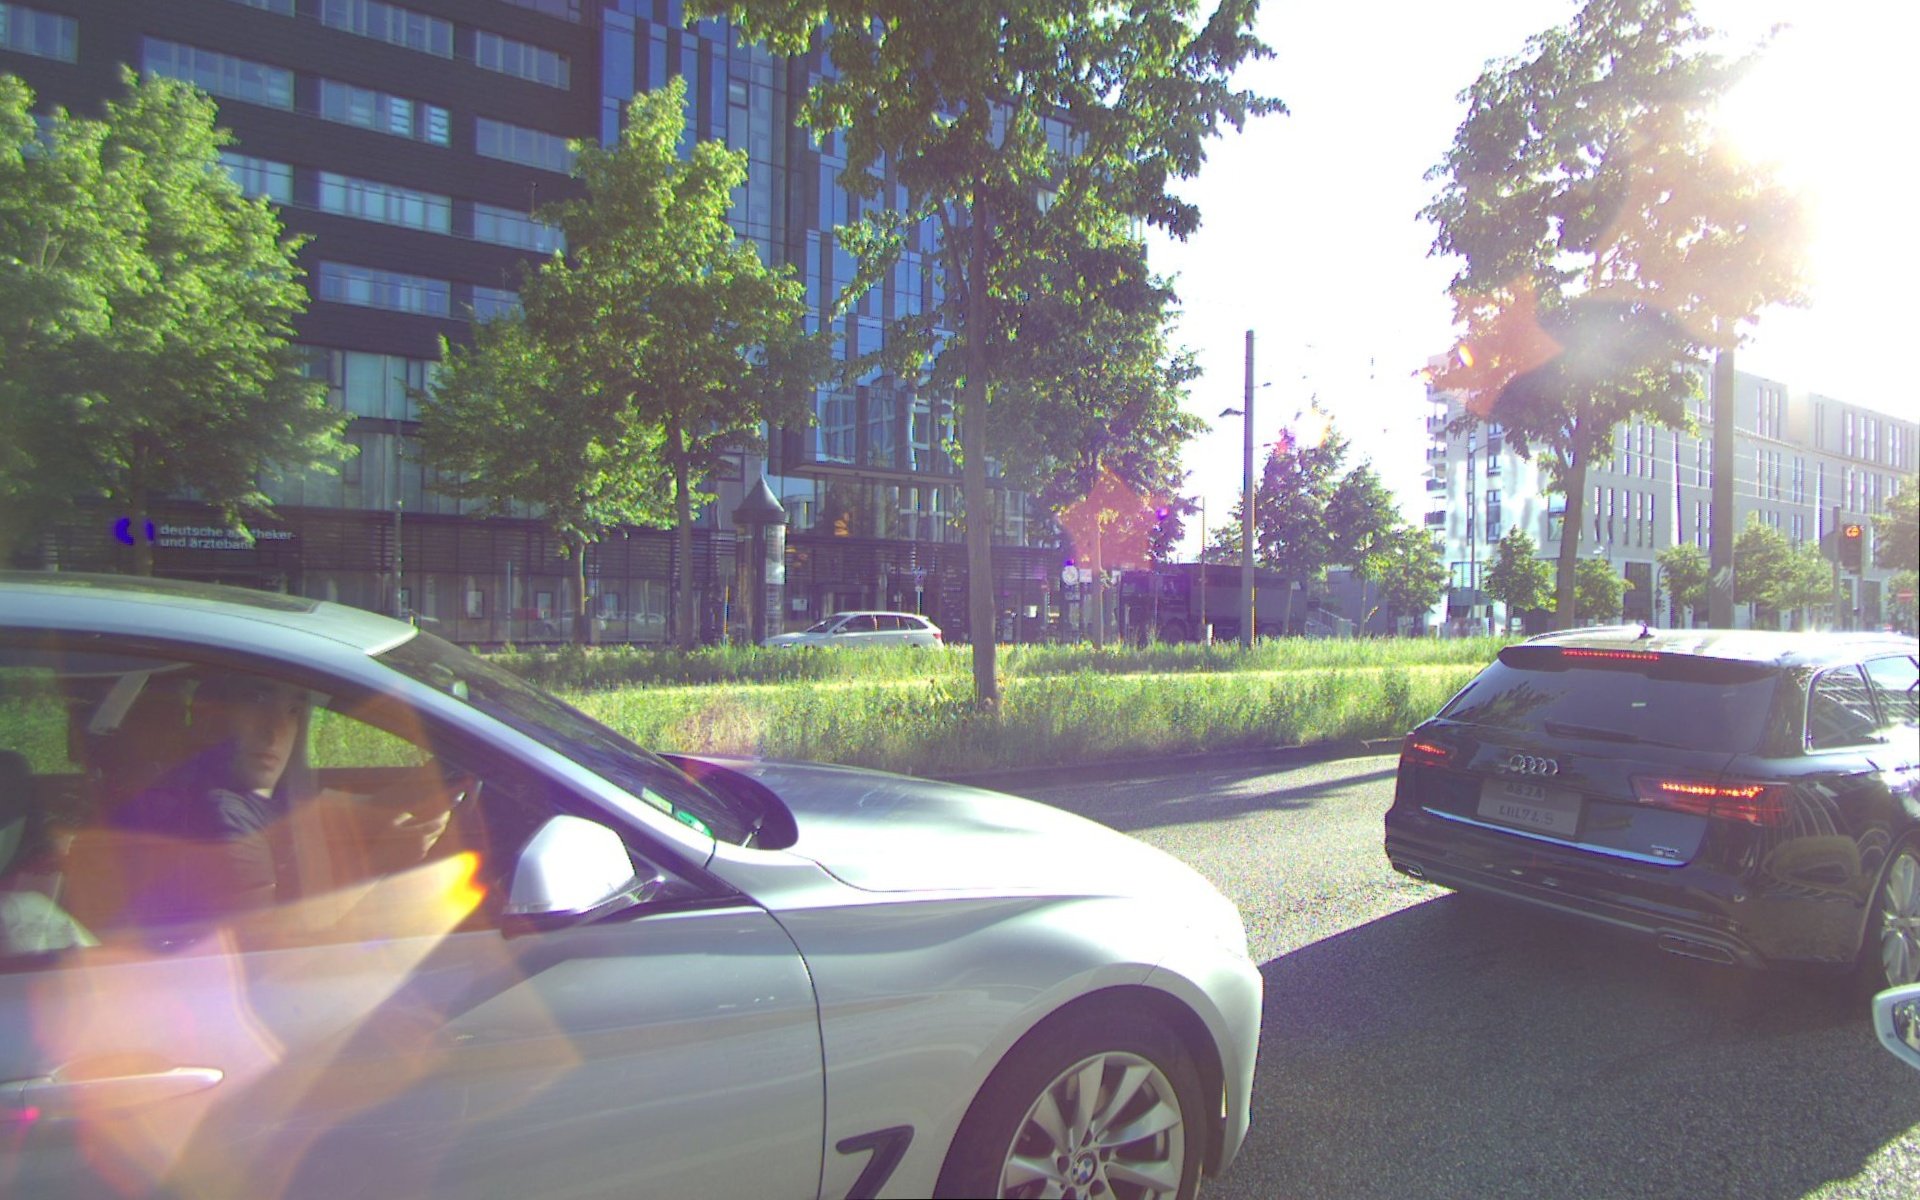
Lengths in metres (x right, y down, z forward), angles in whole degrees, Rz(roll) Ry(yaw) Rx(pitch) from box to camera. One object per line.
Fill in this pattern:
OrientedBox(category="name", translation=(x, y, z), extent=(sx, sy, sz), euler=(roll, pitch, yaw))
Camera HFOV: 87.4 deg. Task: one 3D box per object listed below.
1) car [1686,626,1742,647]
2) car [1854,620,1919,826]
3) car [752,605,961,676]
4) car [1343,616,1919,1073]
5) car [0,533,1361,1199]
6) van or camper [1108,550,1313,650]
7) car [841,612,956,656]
OrientedBox(category="car", translation=(52.572, 2.544, 70.009), extent=(4.420, 1.360, 1.572), euler=(2, -1, -31))
OrientedBox(category="car", translation=(9.253, 0.969, 8.149), extent=(4.063, 1.548, 1.800), euler=(1, -1, -30))
OrientedBox(category="car", translation=(-2.461, 0.946, 24.216), extent=(4.680, 1.558, 1.845), euler=(1, -1, -30))
OrientedBox(category="car", translation=(4.217, 0.855, 5.212), extent=(4.455, 1.476, 1.799), euler=(1, -1, -31))
OrientedBox(category="car", translation=(-1.503, 0.682, 1.944), extent=(4.689, 1.508, 1.799), euler=(1, -1, -31))
OrientedBox(category="van or camper", translation=(11.704, 0.139, 46.399), extent=(10.109, 4.248, 2.740), euler=(2, -1, -30))
OrientedBox(category="car", translation=(-2.300, 1.257, 37.691), extent=(3.920, 1.525, 1.759), euler=(1, -1, 17))
